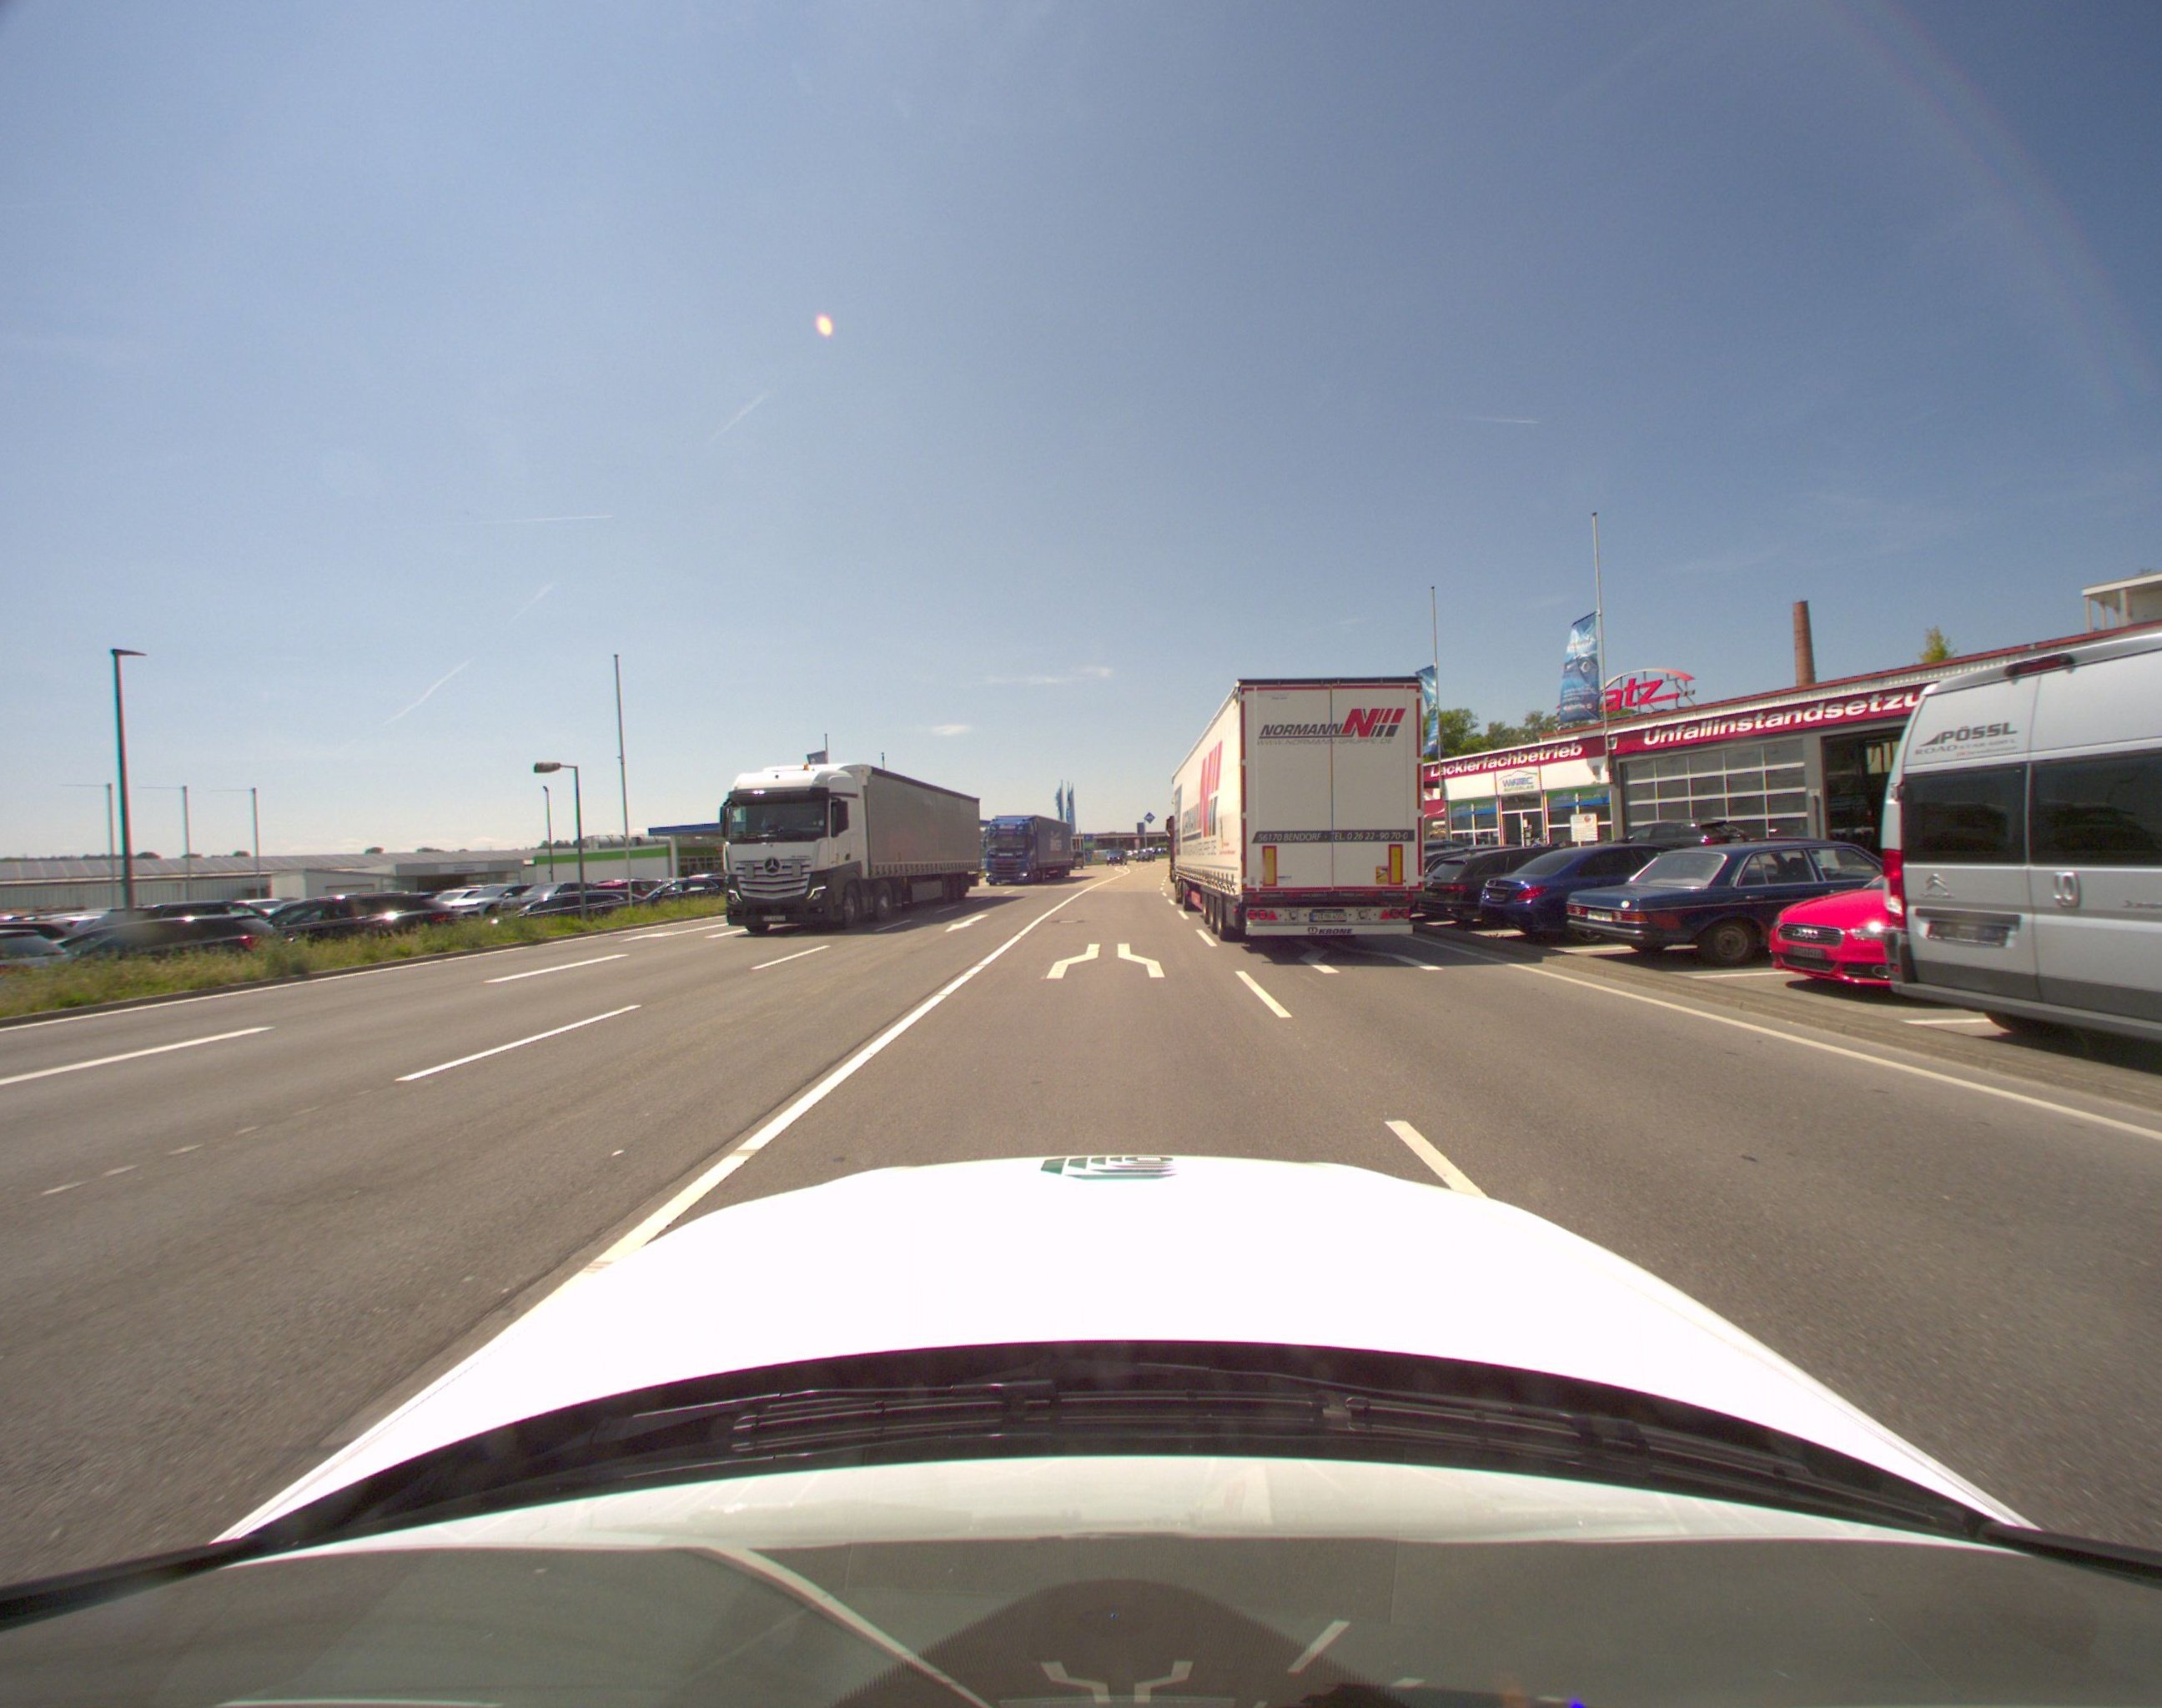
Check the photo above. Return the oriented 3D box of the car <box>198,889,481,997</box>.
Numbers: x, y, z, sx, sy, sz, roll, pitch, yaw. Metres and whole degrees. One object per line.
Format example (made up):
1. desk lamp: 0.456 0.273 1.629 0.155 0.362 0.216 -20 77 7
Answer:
1. car: -14.767 1.687 16.546 3.880 1.686 1.783 -3 0 -30

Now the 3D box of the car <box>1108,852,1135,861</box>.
1. car: 7.069 0.463 140.995 4.195 1.359 2.013 -2 0 35

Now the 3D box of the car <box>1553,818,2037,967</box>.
1. car: 8.839 0.460 10.418 4.496 1.518 1.784 -3 -1 2

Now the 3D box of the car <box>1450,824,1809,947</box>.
1. car: 8.636 0.475 13.193 4.249 1.413 2.164 -6 -1 1

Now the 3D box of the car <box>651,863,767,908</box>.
1. car: -15.176 1.239 33.463 4.186 1.586 1.769 -2 0 -23

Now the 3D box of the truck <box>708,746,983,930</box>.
1. truck: -6.061 -0.260 25.697 2.778 3.889 16.498 -1 -1 4

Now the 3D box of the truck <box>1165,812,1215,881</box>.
1. truck: 6.920 -0.437 53.108 2.635 3.806 13.380 -2 0 6

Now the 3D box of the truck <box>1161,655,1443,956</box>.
1. truck: 3.905 -0.627 20.065 2.961 4.093 17.648 -1 0 3

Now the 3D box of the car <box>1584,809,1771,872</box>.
1. car: 17.711 -0.358 24.448 1.953 1.657 4.141 -2 0 -18

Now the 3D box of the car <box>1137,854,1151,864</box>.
1. car: 8.622 0.646 111.562 1.840 1.271 4.180 -2 0 4

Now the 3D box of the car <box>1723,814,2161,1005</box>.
1. car: 8.694 0.460 7.861 3.526 1.494 1.757 -3 0 3

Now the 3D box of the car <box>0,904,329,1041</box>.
1. car: -15.472 1.882 13.608 3.880 1.750 1.783 -3 0 -30

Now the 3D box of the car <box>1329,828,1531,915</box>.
1. car: 8.698 0.422 20.509 4.010 1.674 2.194 -6 -1 -9

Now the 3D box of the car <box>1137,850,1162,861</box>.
1. car: 12.381 0.244 147.660 3.948 1.750 2.013 -2 0 37

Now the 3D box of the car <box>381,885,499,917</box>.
1. car: -31.431 2.291 40.042 4.176 1.309 1.690 -2 0 -15

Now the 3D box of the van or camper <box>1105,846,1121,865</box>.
1. van or camper: 3.921 0.183 98.745 1.828 2.138 5.348 -1 0 4

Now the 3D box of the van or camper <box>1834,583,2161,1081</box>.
1. van or camper: 8.710 -0.216 5.233 5.452 2.730 2.234 -2 0 3

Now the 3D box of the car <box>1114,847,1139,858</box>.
1. car: 8.066 -0.246 143.931 3.948 1.750 1.947 -2 -1 37

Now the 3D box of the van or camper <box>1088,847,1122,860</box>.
1. van or camper: 3.555 -0.090 121.609 4.817 1.905 1.910 -1 -1 10

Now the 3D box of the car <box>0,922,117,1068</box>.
1. car: -15.661 1.945 10.395 3.878 1.750 1.784 -3 0 -27

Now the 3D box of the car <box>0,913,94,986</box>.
1. car: -24.515 2.157 17.139 1.987 1.464 4.458 -1 0 0

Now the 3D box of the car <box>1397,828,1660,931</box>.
1. car: 8.603 0.472 15.900 4.003 1.481 1.976 -6 -1 -4

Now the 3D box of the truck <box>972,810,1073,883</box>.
1. truck: -3.266 -0.332 52.180 2.828 3.889 17.043 -1 -1 8

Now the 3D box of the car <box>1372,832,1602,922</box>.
1. car: 8.848 0.488 17.986 4.003 1.481 1.976 -6 -1 -4
